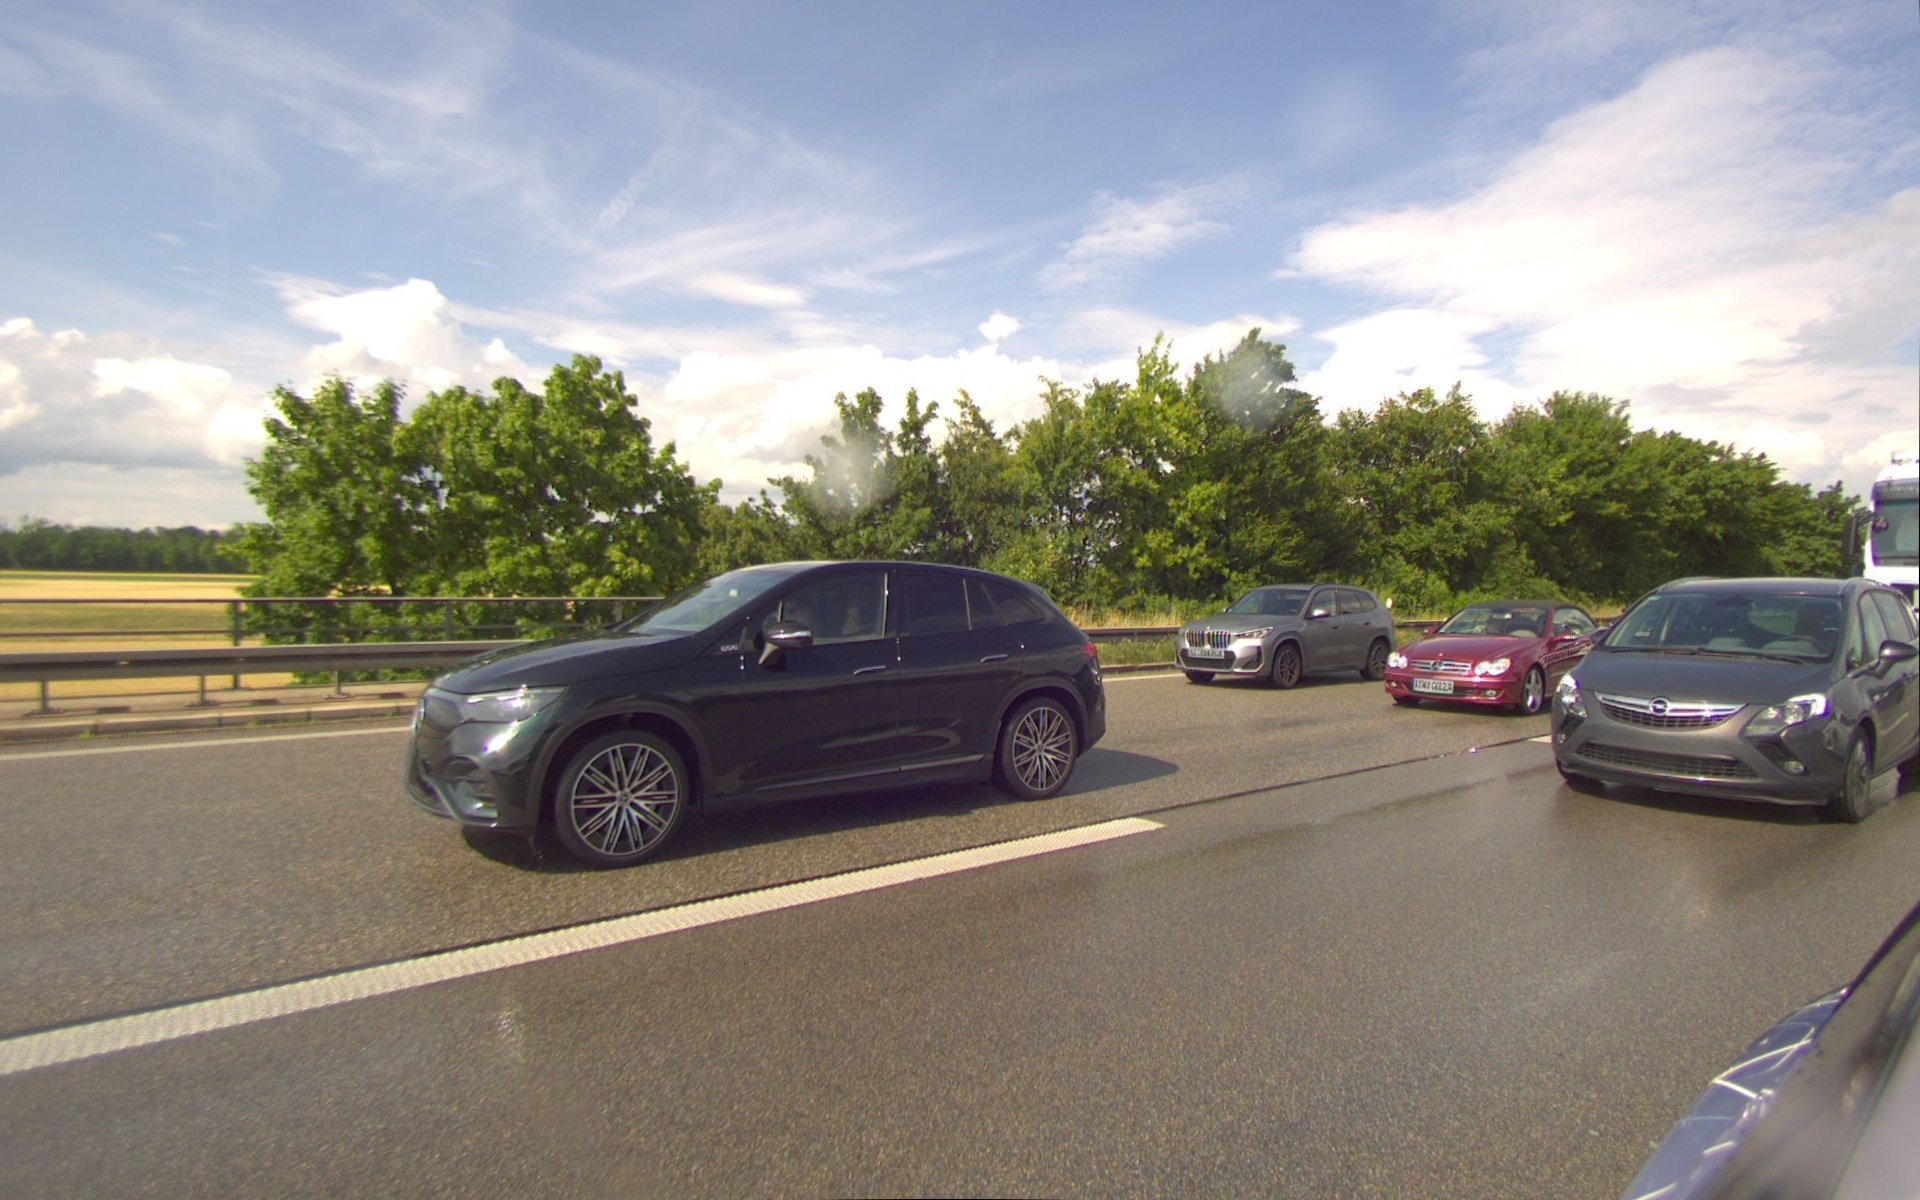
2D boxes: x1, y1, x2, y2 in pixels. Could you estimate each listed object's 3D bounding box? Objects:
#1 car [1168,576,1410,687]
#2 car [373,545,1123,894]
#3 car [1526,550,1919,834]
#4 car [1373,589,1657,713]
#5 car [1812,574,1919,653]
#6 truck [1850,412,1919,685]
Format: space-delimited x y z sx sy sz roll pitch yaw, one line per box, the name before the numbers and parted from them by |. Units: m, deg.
car | 5.484 0.434 16.644 4.209 1.606 1.753 -1 0 -38
car | -1.197 0.521 6.843 4.568 1.601 1.998 0 1 -38
car | 6.431 0.516 8.042 4.316 1.668 1.884 0 1 -38
car | 7.610 0.573 13.707 4.428 1.428 1.756 0 0 -38
car | 24.474 0.287 26.822 5.074 1.909 1.955 -1 1 -39
truck | 17.902 -0.808 17.129 7.307 4.158 2.818 0 0 -37
